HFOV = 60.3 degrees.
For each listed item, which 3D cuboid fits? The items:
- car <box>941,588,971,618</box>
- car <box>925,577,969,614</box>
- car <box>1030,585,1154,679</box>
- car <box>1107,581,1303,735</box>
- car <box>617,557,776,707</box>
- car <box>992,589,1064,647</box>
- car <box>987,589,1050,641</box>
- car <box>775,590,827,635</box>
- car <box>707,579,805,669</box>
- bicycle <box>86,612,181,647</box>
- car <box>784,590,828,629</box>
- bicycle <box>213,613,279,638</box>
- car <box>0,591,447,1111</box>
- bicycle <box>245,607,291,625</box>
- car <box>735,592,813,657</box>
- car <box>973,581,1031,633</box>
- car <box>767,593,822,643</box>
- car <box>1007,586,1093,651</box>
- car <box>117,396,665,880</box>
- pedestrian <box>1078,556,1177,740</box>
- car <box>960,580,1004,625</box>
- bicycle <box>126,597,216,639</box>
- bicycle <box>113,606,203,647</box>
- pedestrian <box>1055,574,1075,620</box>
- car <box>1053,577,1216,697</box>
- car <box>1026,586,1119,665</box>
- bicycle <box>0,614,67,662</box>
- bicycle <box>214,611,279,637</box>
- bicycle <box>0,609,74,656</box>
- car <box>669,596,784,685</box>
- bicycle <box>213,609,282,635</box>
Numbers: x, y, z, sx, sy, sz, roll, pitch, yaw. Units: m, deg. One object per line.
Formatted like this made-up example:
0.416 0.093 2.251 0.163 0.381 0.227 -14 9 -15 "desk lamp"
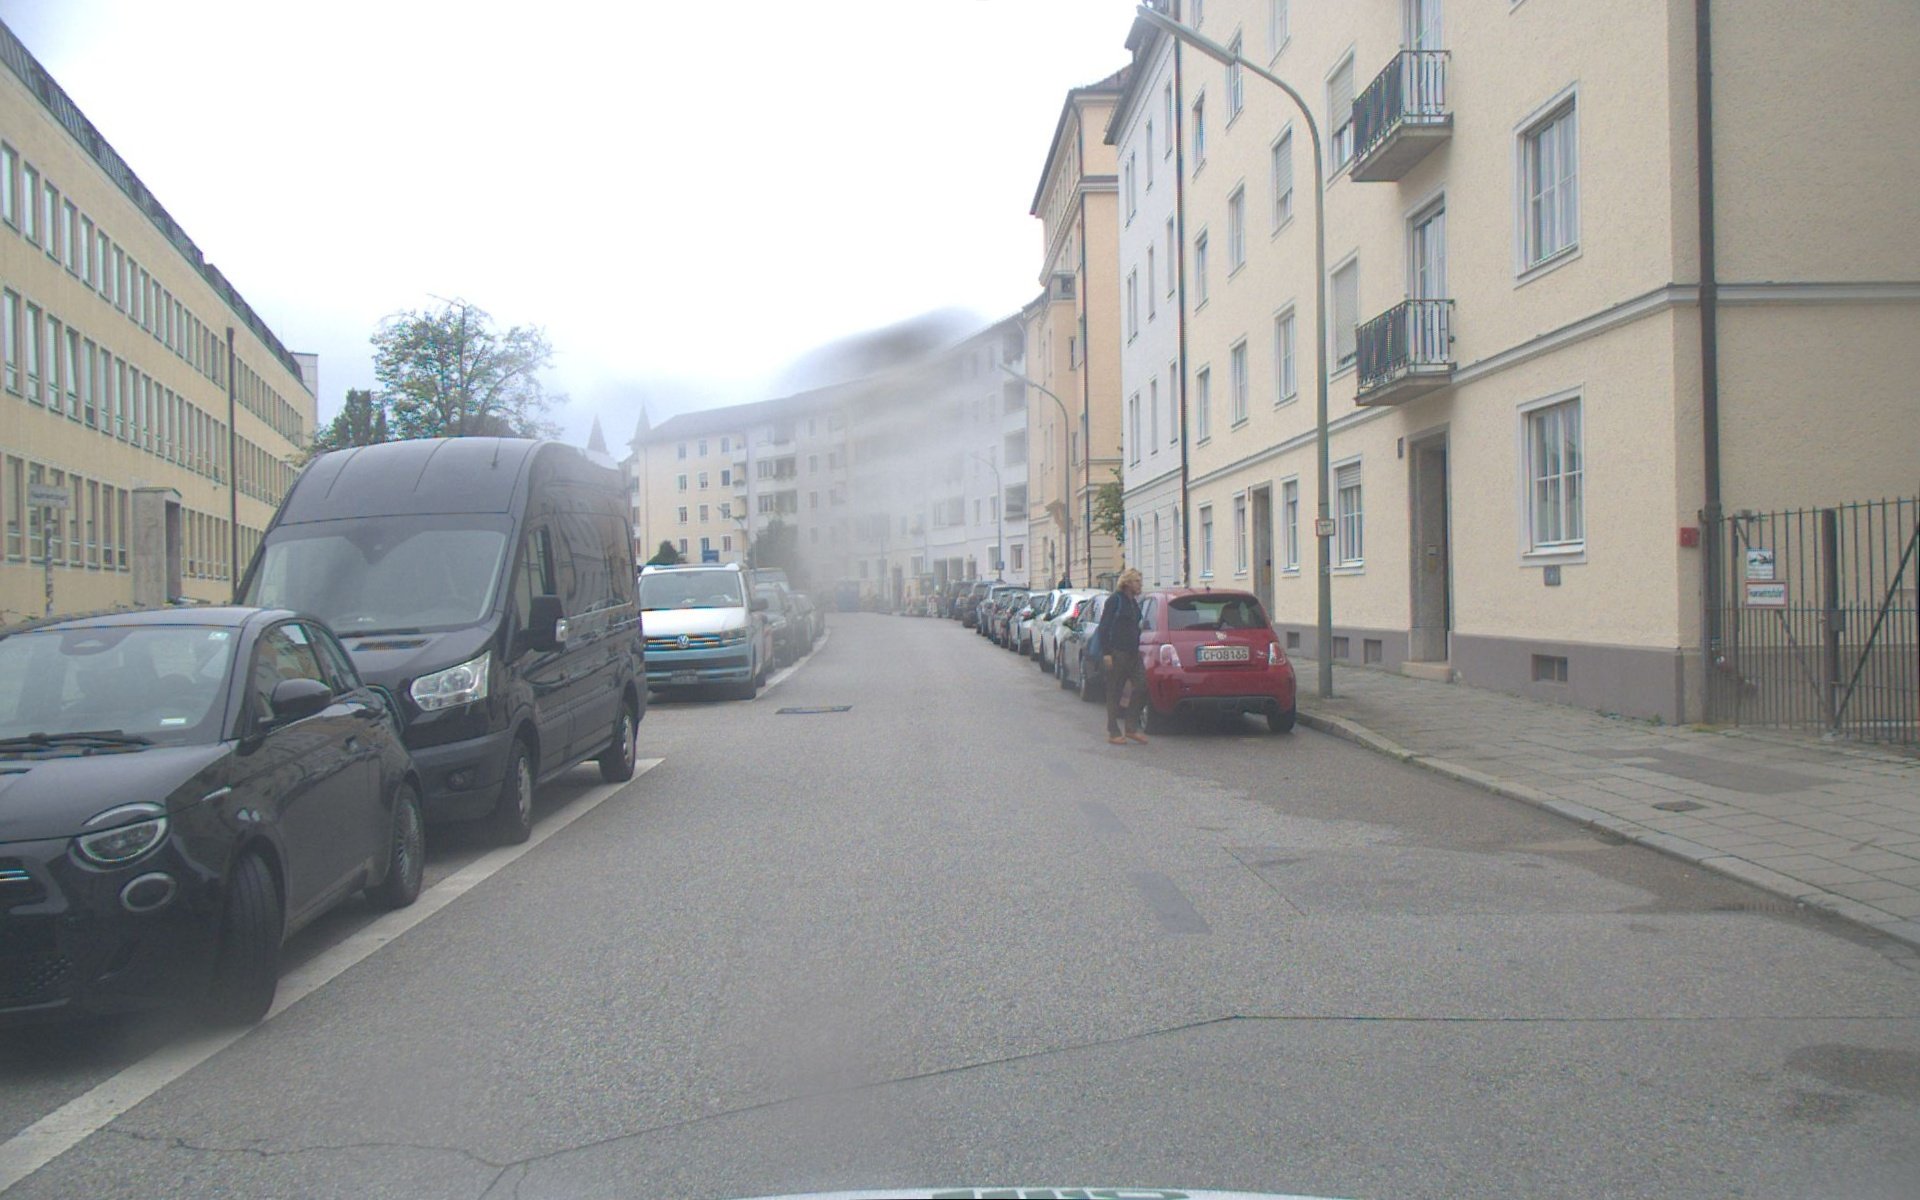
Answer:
-0.211 0.125 75.816 1.246 1.321 2.796 0 0 -3 "car"
-0.647 -0.225 80.279 1.573 1.745 3.081 0 0 -11 "car"
2.284 0.517 29.518 1.658 1.517 4.280 -1 0 -3 "car"
2.657 0.582 18.711 1.563 1.535 3.800 -1 0 -1 "car"
-3.868 0.421 24.991 1.845 1.965 4.597 -3 1 -4 "car"
1.781 0.446 44.443 1.559 1.457 4.419 0 0 -3 "car"
1.701 0.417 49.178 1.559 1.457 3.823 0 0 -3 "car"
-5.424 0.413 56.735 1.591 1.444 3.978 -2 0 -4 "car"
-4.281 0.458 35.192 1.668 1.720 4.026 -3 1 -2 "car"
-21.547 0.769 43.156 2.173 0.849 0.492 -1 -1 -21 "bicycle"
-6.146 0.360 66.266 1.591 1.444 3.645 -2 0 -4 "car"
-25.247 0.895 58.536 2.088 0.849 0.644 -1 -1 -21 "bicycle"
-3.312 0.806 6.820 1.555 1.565 3.539 -3 0 -6 "car"
-28.637 0.659 68.509 1.712 0.727 0.611 -1 -1 -20 "bicycle"
-4.525 0.568 40.695 1.591 1.437 3.797 -3 0 -3 "car"
1.342 0.210 53.912 1.559 1.610 4.297 0 0 -3 "car"
-5.150 0.539 51.873 1.592 1.444 3.977 -2 0 -5 "car"
2.093 0.439 39.394 1.658 1.457 3.942 0 0 -3 "car"
-3.668 0.179 11.969 2.045 2.682 5.377 -1 1 0 "car"
1.638 0.471 16.227 0.781 1.758 0.670 1 -2 -16 "pedestrian"
0.830 0.070 63.516 1.444 1.669 3.999 0 0 -3 "car"
-22.751 0.502 47.735 2.211 1.189 1.042 0 0 -18 "bicycle"
-21.925 0.721 45.240 2.173 1.056 0.492 -1 -1 -21 "bicycle"
4.002 -0.096 62.938 0.653 1.722 0.689 1 -1 -2 "pedestrian"
2.402 0.493 23.760 1.658 1.517 4.340 -1 0 -3 "car"
2.286 0.486 34.331 1.566 1.517 3.798 -1 1 -1 "car"
-19.268 0.776 34.060 1.503 0.971 0.364 0 0 -18 "bicycle"
-26.311 0.894 61.011 2.173 0.911 0.644 -1 -1 -21 "bicycle"
-19.835 0.695 35.388 1.503 0.971 0.364 0 0 -18 "bicycle"
-4.129 0.676 29.702 1.619 1.397 3.651 -3 1 -3 "car"
-24.904 0.756 57.841 2.173 0.849 0.492 -1 -1 -21 "bicycle"
